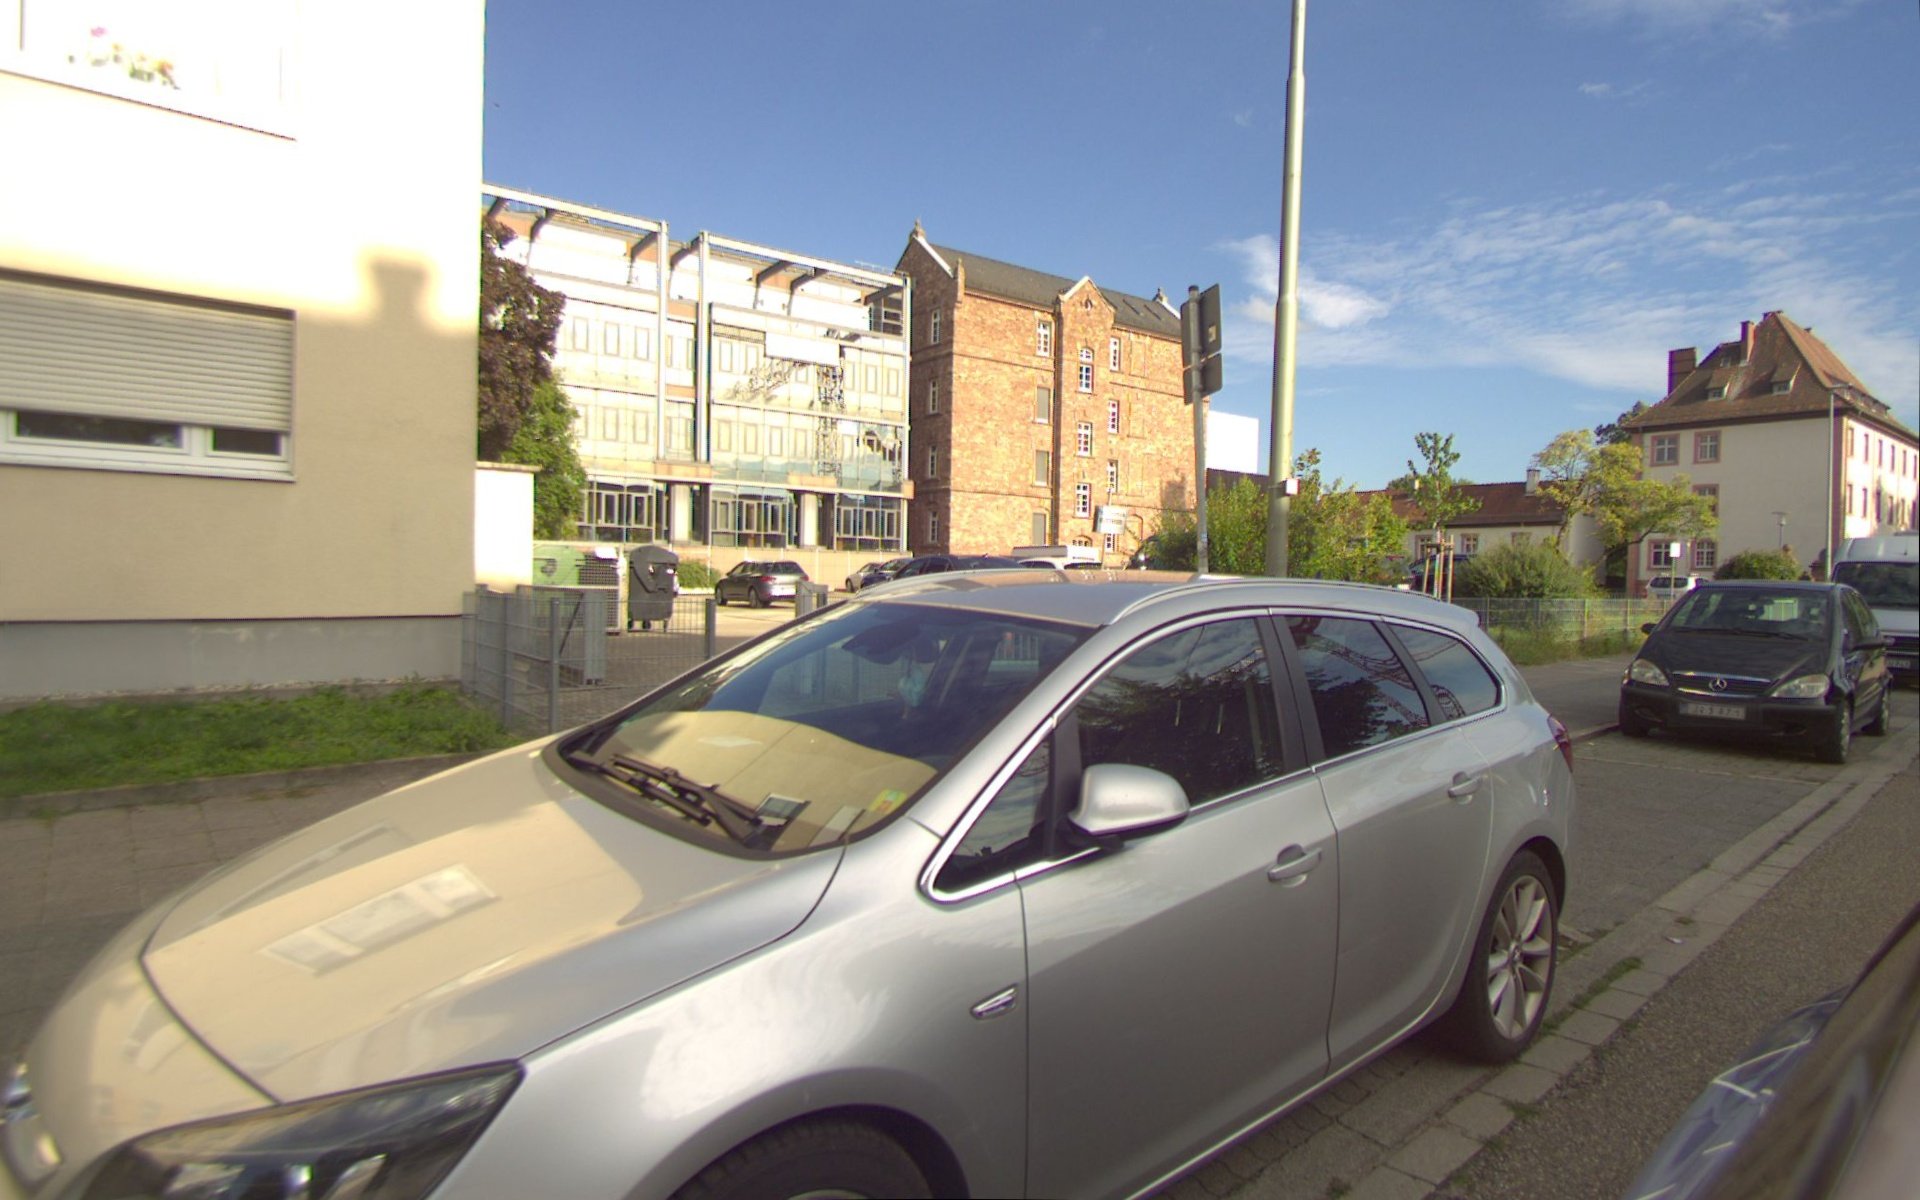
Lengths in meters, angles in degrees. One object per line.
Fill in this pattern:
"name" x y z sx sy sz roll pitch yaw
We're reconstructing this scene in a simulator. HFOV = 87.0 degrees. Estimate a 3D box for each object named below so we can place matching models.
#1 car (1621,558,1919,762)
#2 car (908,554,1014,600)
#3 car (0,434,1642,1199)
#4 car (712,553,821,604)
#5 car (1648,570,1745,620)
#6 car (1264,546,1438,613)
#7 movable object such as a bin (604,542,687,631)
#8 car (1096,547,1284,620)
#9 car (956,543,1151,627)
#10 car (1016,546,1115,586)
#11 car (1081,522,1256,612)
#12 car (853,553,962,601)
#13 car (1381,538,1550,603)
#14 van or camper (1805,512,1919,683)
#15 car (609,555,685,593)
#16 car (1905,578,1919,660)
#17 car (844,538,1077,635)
"car" 8.300 0.447 10.229 3.902 1.621 1.677 -1 4 -42
"car" -0.026 -0.792 35.717 1.834 1.522 4.093 0 1 -33
"car" 0.157 0.578 2.872 4.252 1.542 1.768 0 2 -39
"car" -5.915 -0.649 30.594 1.834 1.436 4.093 0 1 -33
"car" 27.419 -0.219 37.637 4.016 1.740 1.889 0 2 -38
"car" 9.847 -0.519 25.758 1.833 1.584 3.802 0 1 -31
"movable object such as a bin" -5.288 -0.237 17.012 1.090 1.435 0.879 0 2 -39
"car" 5.110 -0.376 22.990 1.833 1.500 4.094 0 1 -31
"car" 1.750 -0.317 20.259 1.833 1.500 4.094 0 1 -31
"car" 4.225 -1.348 40.932 1.834 1.522 4.093 0 1 -33
"car" 5.534 -0.850 27.355 2.321 2.219 4.284 0 1 -33
"car" -1.812 -0.760 33.632 1.834 1.500 4.093 0 1 -33
"car" 14.009 -0.793 28.228 1.834 1.679 3.801 0 1 -33
"van or camper" 16.451 -0.070 17.281 5.812 2.557 2.164 -1 3 -42
"car" -12.415 -1.008 39.953 1.834 1.436 4.093 0 1 -33
"car" 21.545 0.419 21.439 4.129 1.668 1.677 0 4 -40
"car" -0.155 -0.258 18.165 1.835 1.500 4.681 0 1 -35
